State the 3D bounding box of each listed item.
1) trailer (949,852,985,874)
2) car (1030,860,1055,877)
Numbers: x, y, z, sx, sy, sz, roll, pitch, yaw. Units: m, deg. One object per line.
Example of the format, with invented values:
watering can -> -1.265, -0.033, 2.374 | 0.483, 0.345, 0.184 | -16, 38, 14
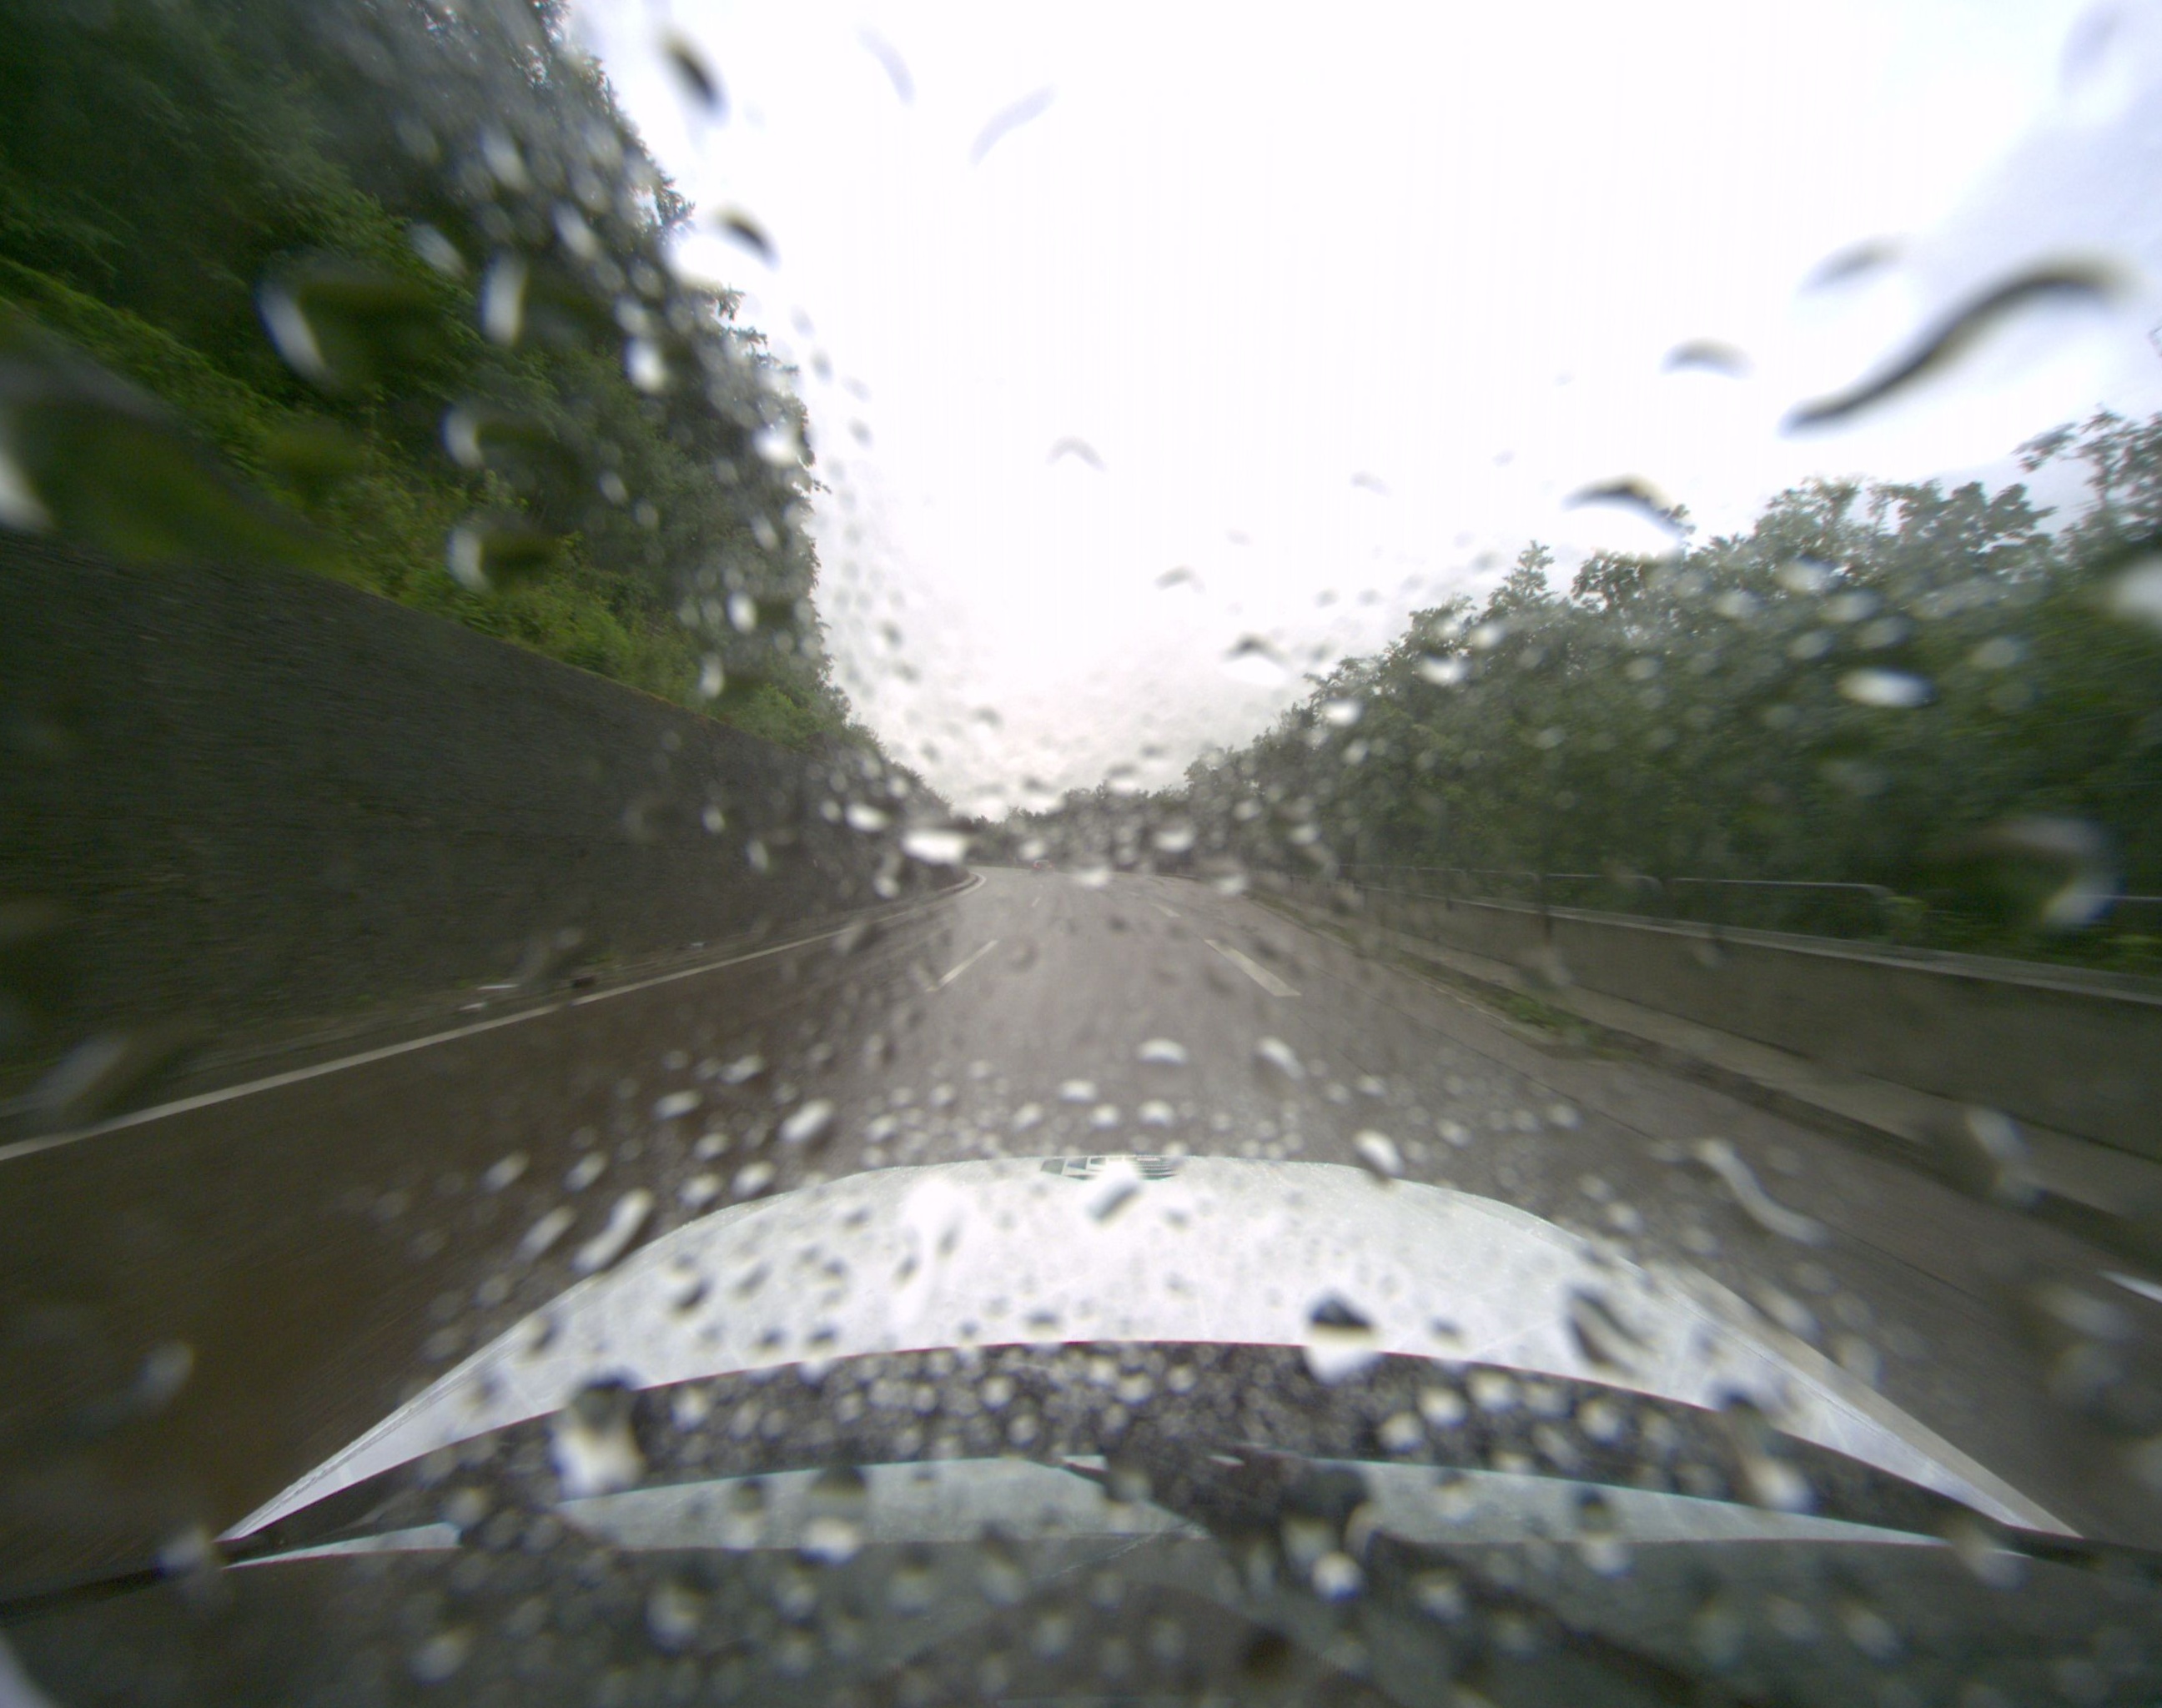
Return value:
trailer -> -23.879, 1.839, 169.233 | 2.907, 4.245, 14.570 | 0, 0, -26
car -> -3.637, 1.368, 75.828 | 1.903, 1.499, 3.987 | 2, -1, -9
